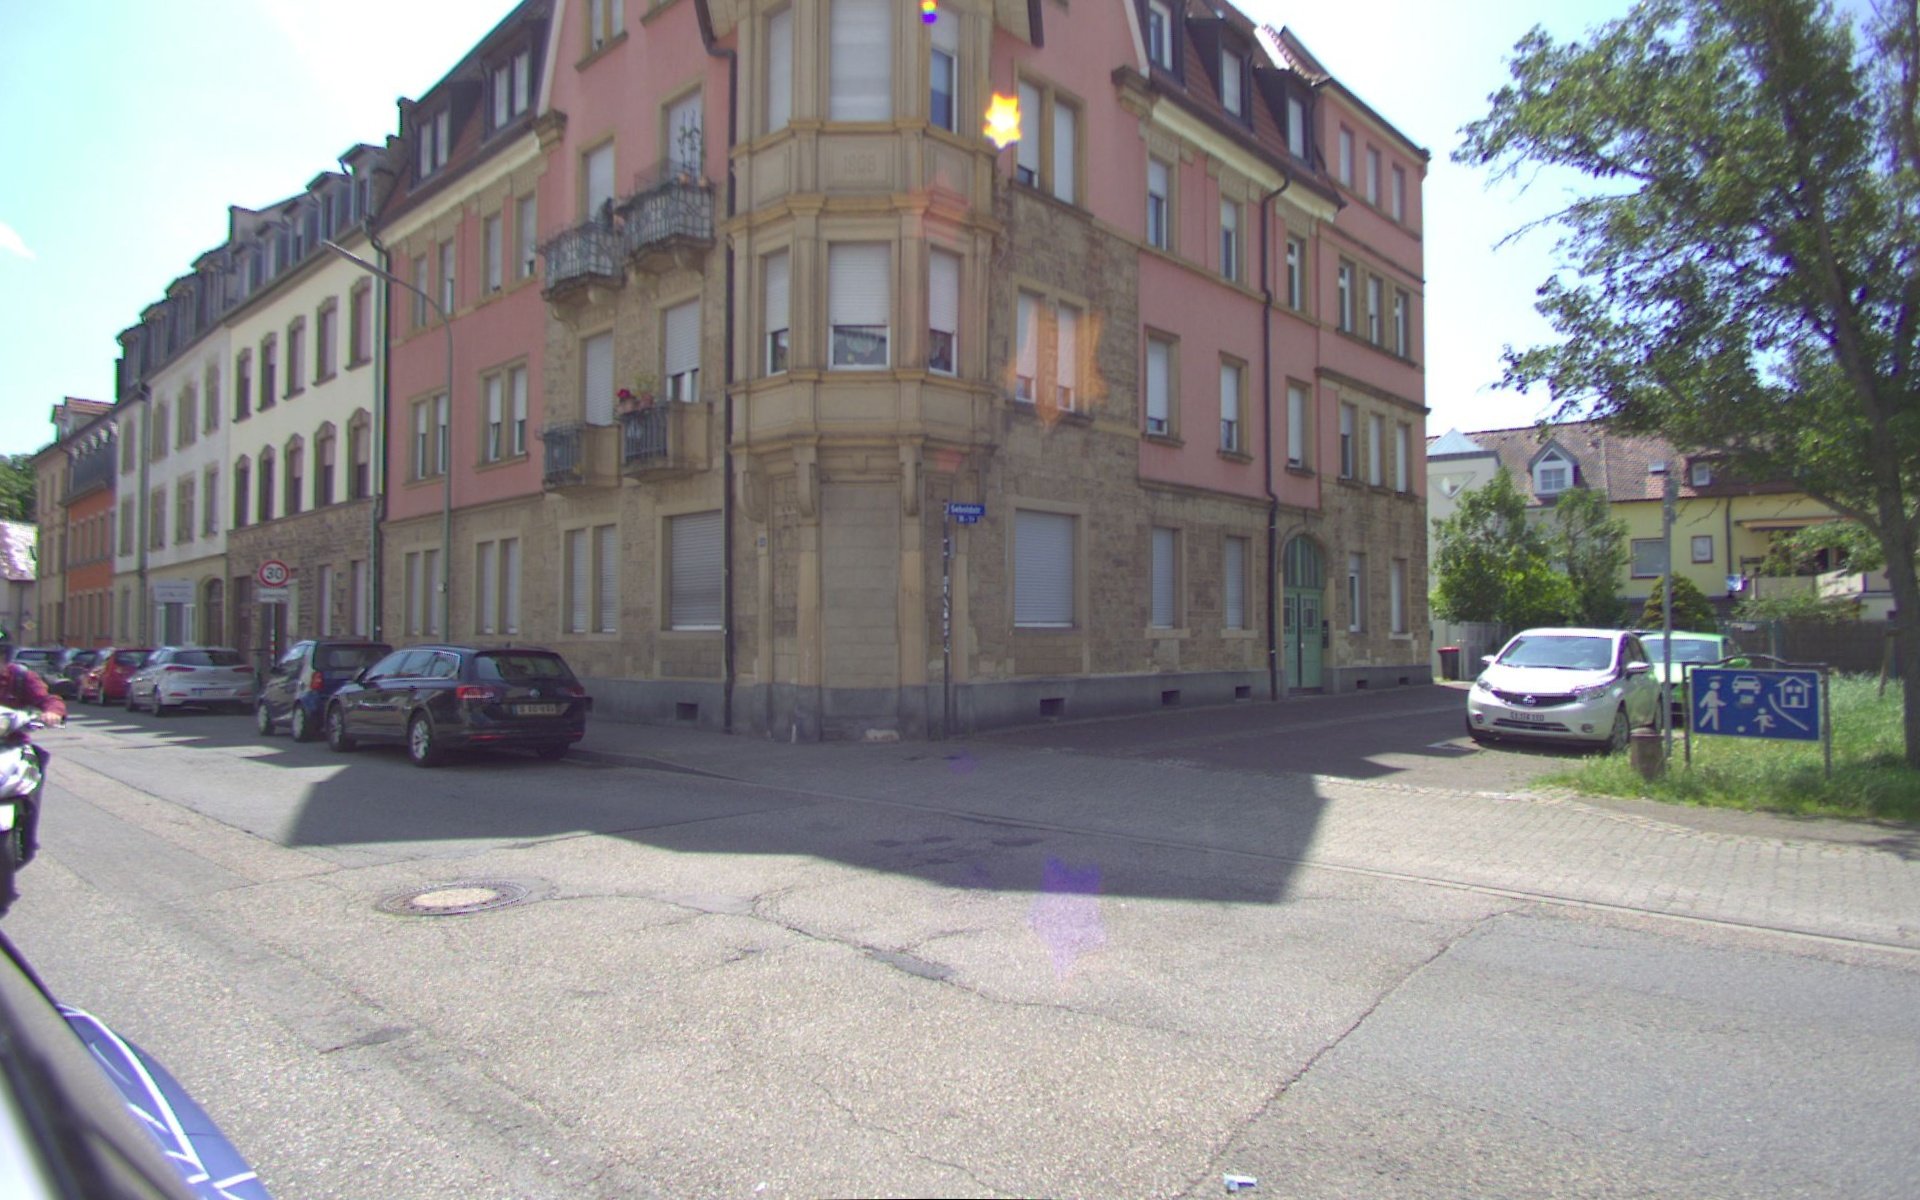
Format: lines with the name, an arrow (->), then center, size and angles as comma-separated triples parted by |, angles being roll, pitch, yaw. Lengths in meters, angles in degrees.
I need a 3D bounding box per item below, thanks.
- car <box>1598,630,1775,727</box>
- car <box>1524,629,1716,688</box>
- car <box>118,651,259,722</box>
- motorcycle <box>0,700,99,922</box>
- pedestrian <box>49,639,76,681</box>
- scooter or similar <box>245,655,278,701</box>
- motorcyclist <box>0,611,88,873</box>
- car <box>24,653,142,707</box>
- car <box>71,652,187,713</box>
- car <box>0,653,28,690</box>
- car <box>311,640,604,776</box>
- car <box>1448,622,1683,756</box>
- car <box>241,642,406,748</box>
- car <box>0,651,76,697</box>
car -> 12.115, 1.245, 16.787 | 1.804, 1.409, 3.942 | -3, -4, 44
car -> 18.016, 1.571, 27.820 | 4.275, 1.466, 1.653 | -2, -1, 34
car -> -17.029, 1.848, 22.279 | 4.015, 1.442, 1.618 | -2, -5, 40
motorcycle -> -5.745, 1.173, 5.918 | 1.990, 1.063, 0.750 | -3, -2, 40
pedestrian -> -39.159, 2.625, 44.169 | 0.763, 1.784, 0.760 | -3, -2, 39
scooter or similar -> -19.049, 2.105, 27.595 | 1.318, 1.230, 0.371 | -3, -4, 40
motorcyclist -> -5.747, 0.804, 5.942 | 1.019, 1.451, 0.783 | -3, -2, 40
car -> -25.578, 2.270, 29.486 | 4.213, 1.449, 1.854 | -3, -3, 39
car -> -21.315, 2.065, 25.921 | 3.491, 1.453, 1.582 | -2, -4, 39
car -> -39.692, 2.911, 41.452 | 3.849, 1.470, 1.693 | -3, -5, 40
car -> -6.660, 1.260, 13.182 | 4.632, 1.469, 1.764 | -2, -3, 41
car -> 8.288, 1.088, 13.705 | 1.869, 1.514, 3.942 | -3, -2, 44
car -> -10.135, 1.435, 16.076 | 2.693, 1.534, 1.422 | -2, -3, 40
car -> -32.787, 2.550, 35.604 | 4.378, 1.522, 1.859 | -3, -4, 40
